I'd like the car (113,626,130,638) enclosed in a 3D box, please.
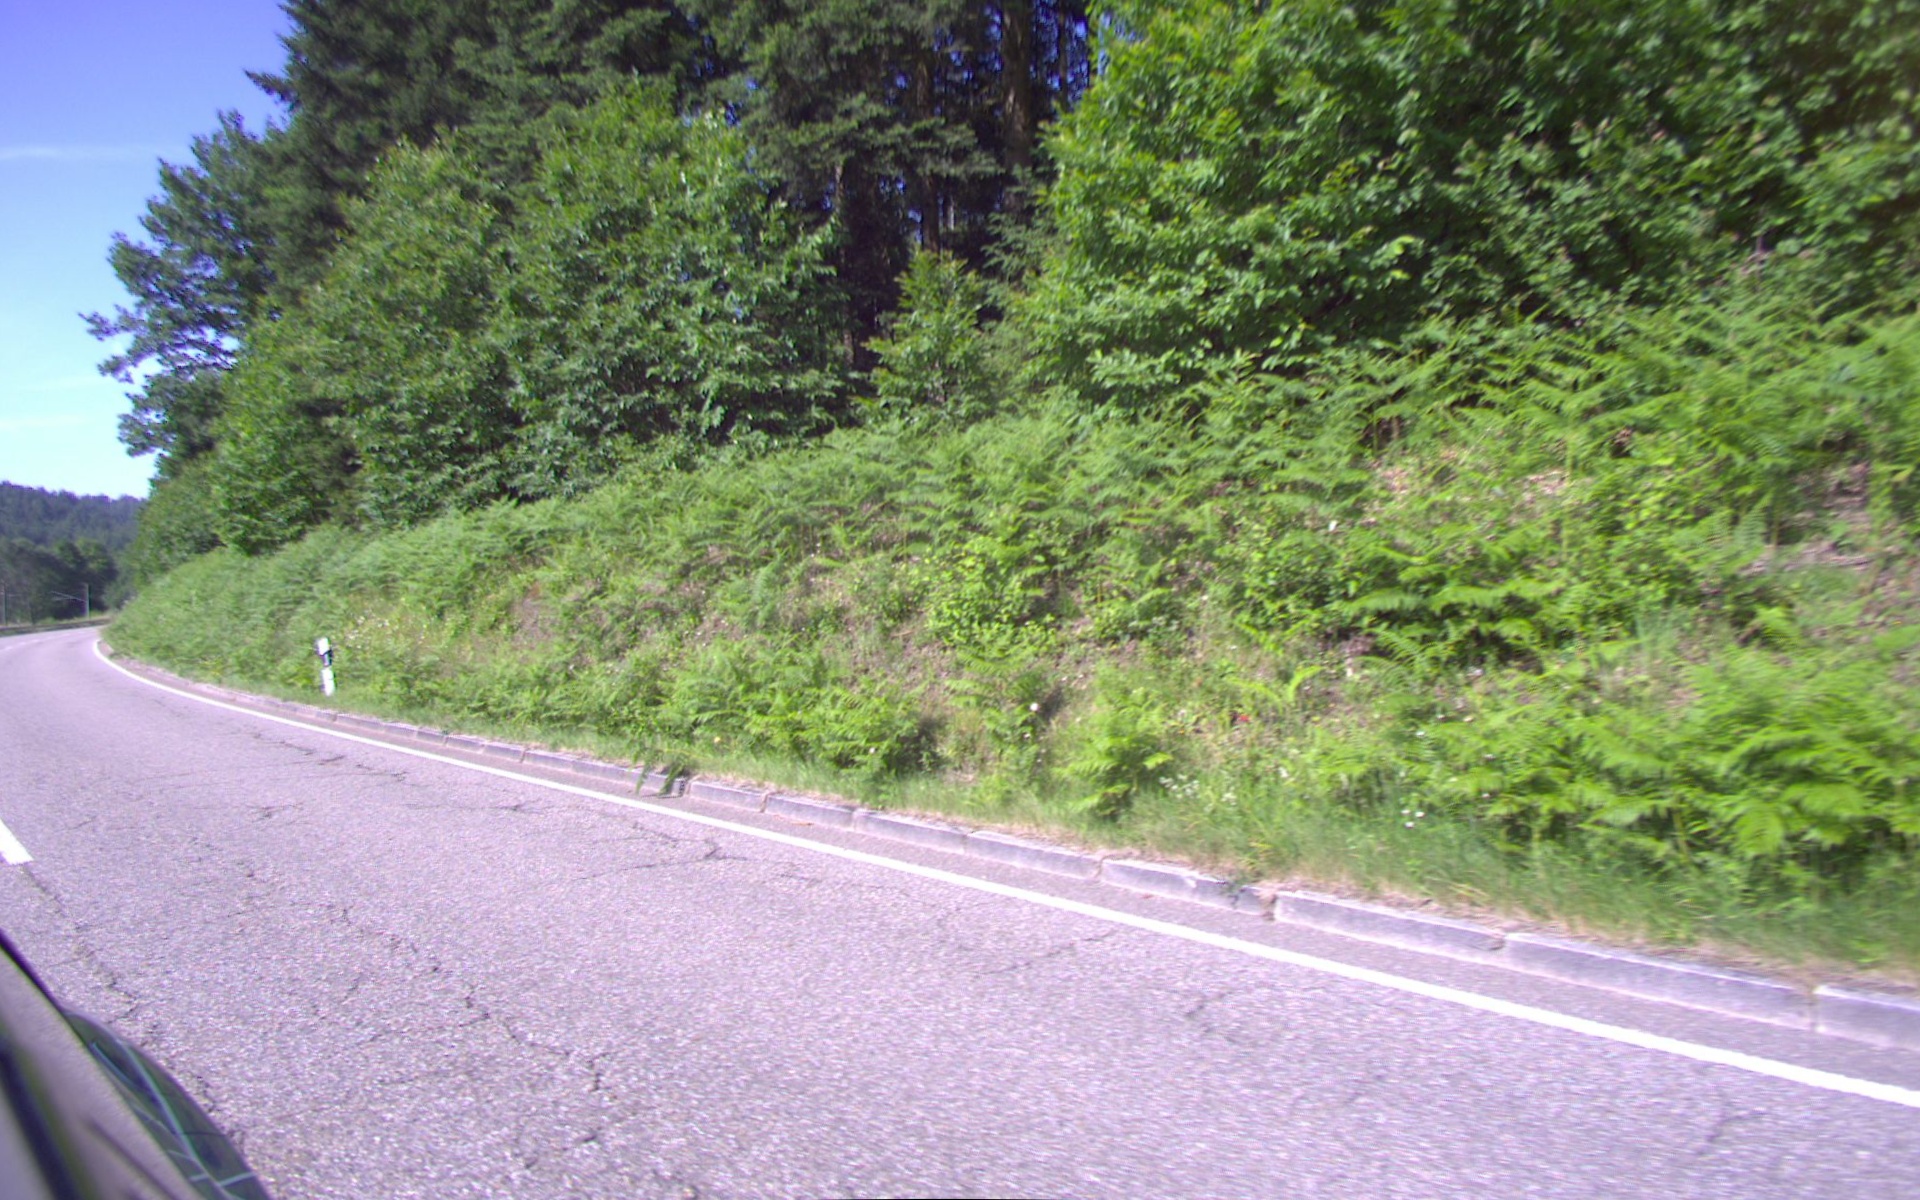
[{"bbox_3d":[-121.135,4.638,146.138,1.678,1.563,3.794,-3,2,-41],"label":"car"}]
